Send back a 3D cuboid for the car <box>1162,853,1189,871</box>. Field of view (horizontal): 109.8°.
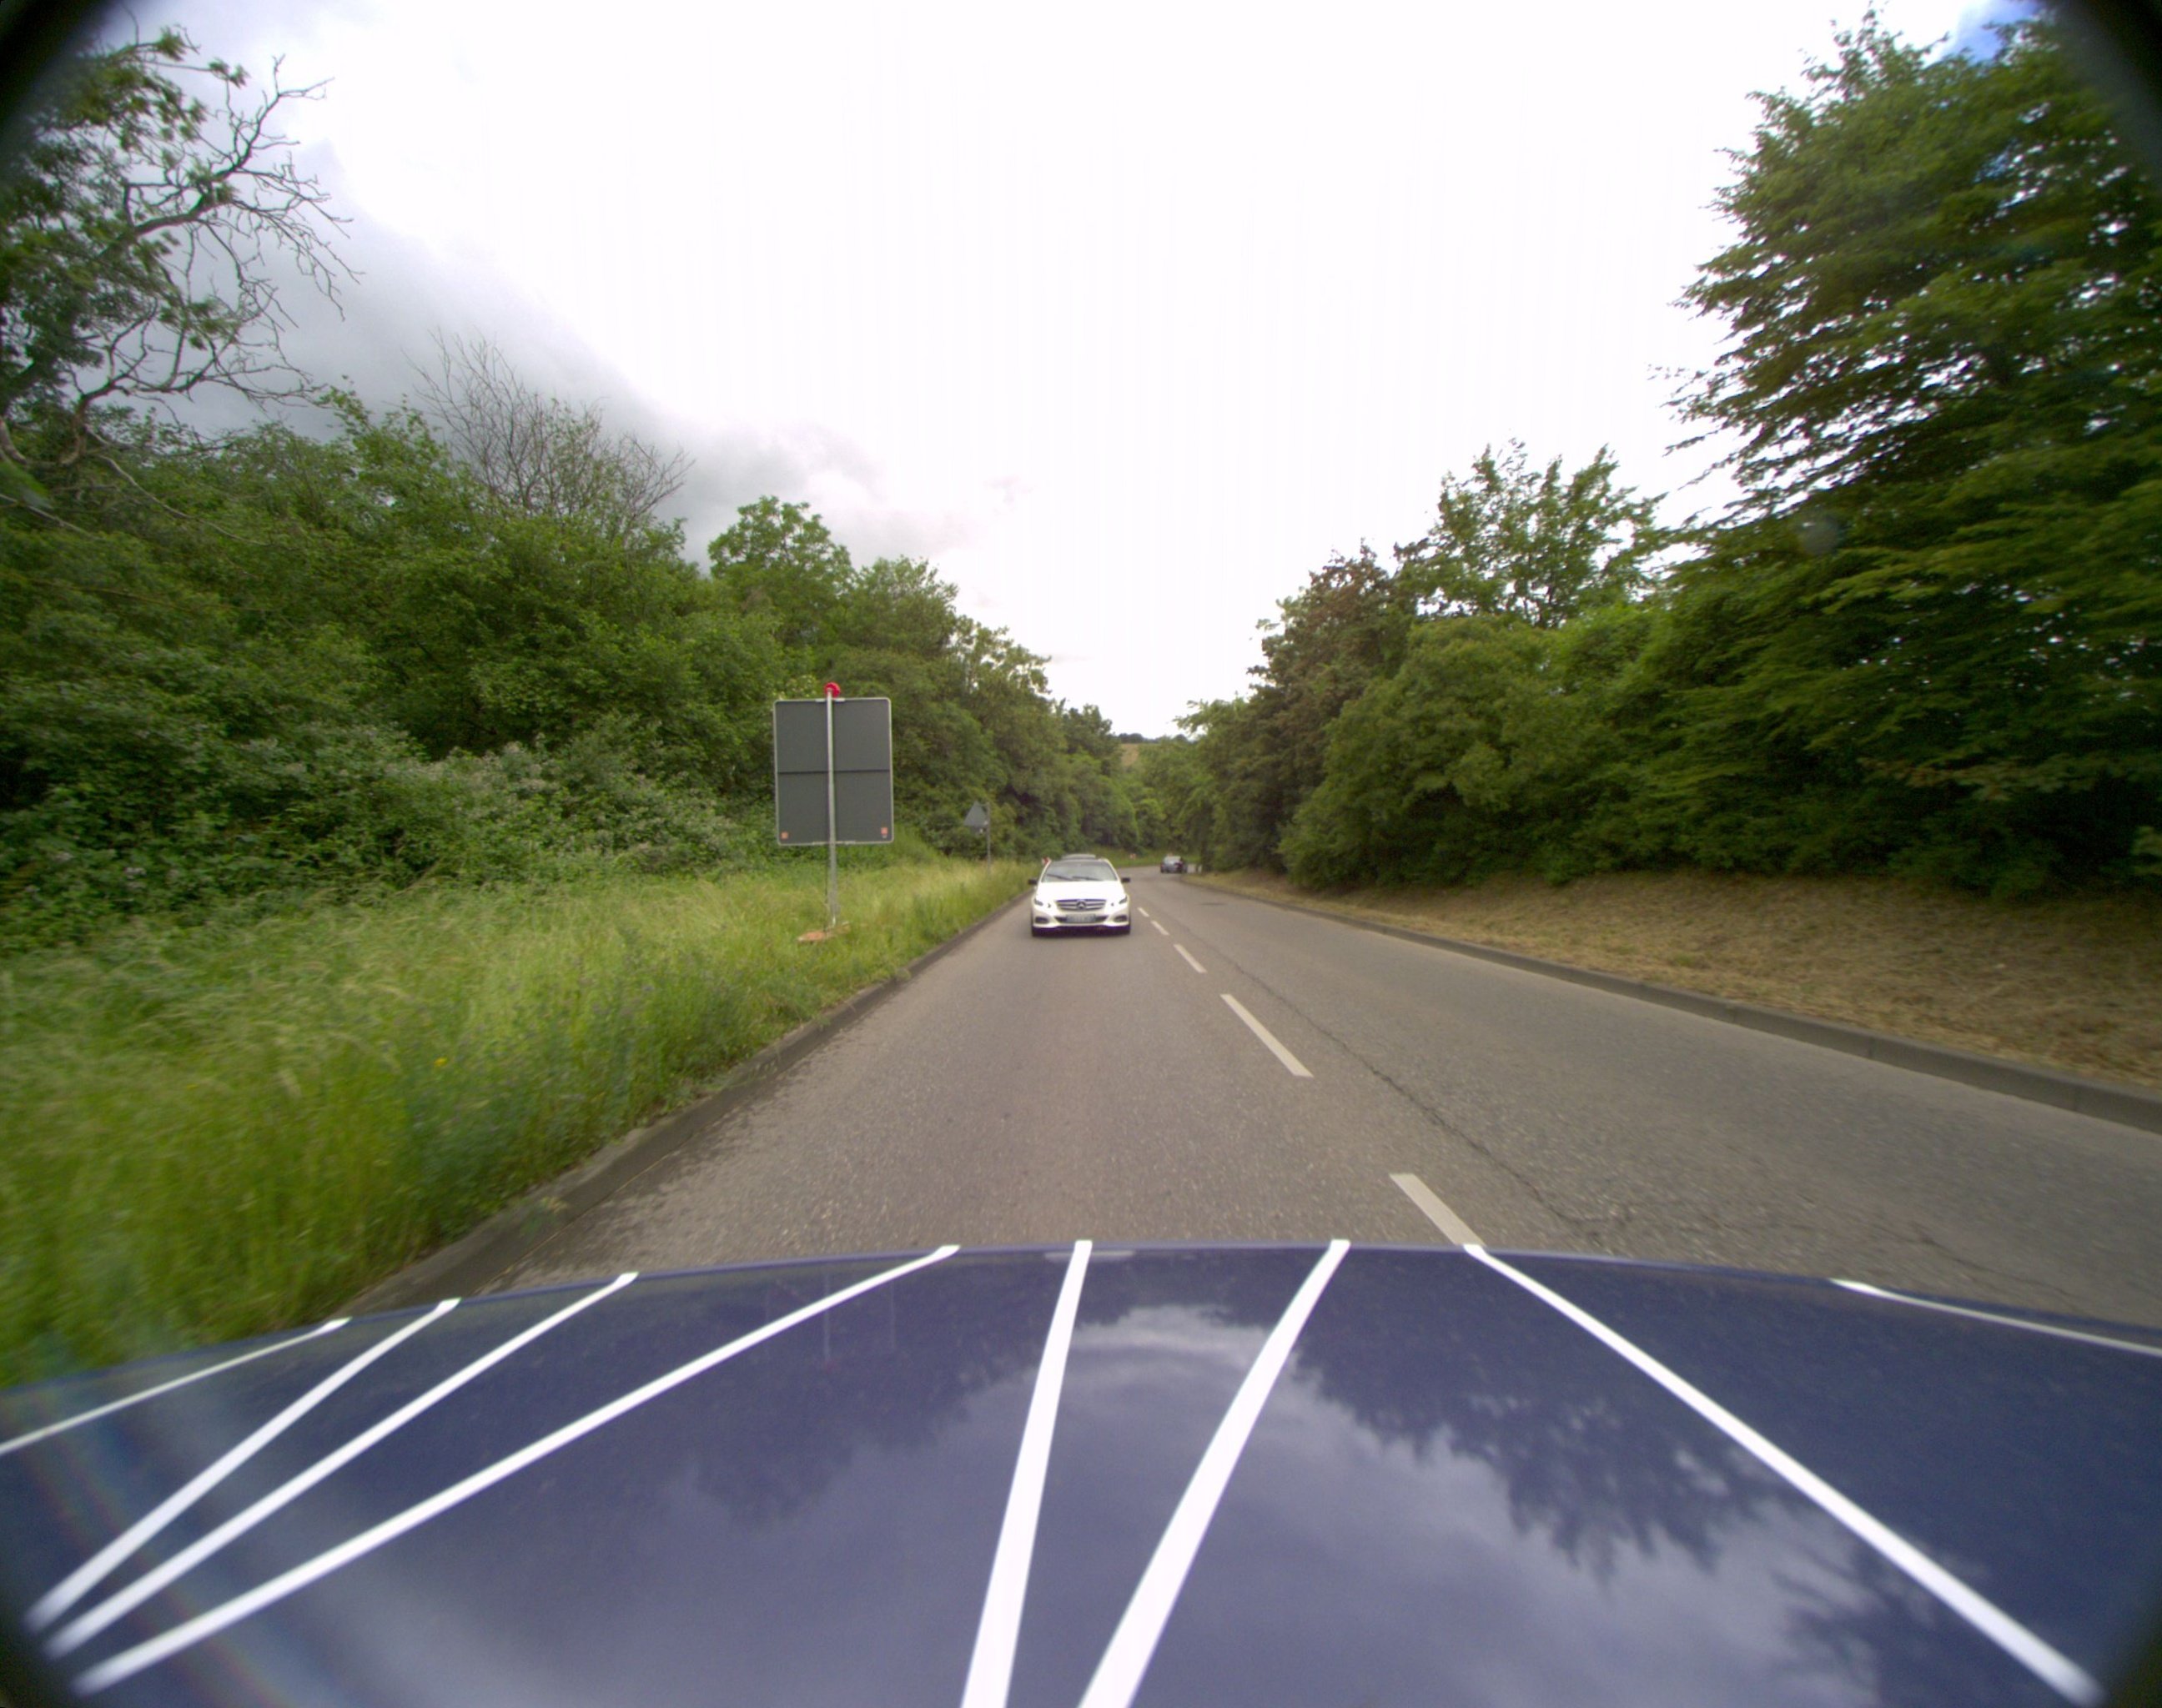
[{"bbox_3d":[8.263,0.641,65.964,1.834,1.397,4.435,-2,0,13],"label":"car"}]

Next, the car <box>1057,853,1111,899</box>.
[{"bbox_3d":[0.083,0.748,27.644,1.823,1.535,3.725,0,0,-1],"label":"car"}]

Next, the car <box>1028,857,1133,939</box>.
[{"bbox_3d":[-0.047,0.818,16.131,1.887,1.414,3.999,-2,0,-1],"label":"car"}]

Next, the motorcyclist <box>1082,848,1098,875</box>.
[{"bbox_3d":[0.522,0.432,42.965,0.818,1.457,0.787,-2,1,4],"label":"motorcyclist"}]
